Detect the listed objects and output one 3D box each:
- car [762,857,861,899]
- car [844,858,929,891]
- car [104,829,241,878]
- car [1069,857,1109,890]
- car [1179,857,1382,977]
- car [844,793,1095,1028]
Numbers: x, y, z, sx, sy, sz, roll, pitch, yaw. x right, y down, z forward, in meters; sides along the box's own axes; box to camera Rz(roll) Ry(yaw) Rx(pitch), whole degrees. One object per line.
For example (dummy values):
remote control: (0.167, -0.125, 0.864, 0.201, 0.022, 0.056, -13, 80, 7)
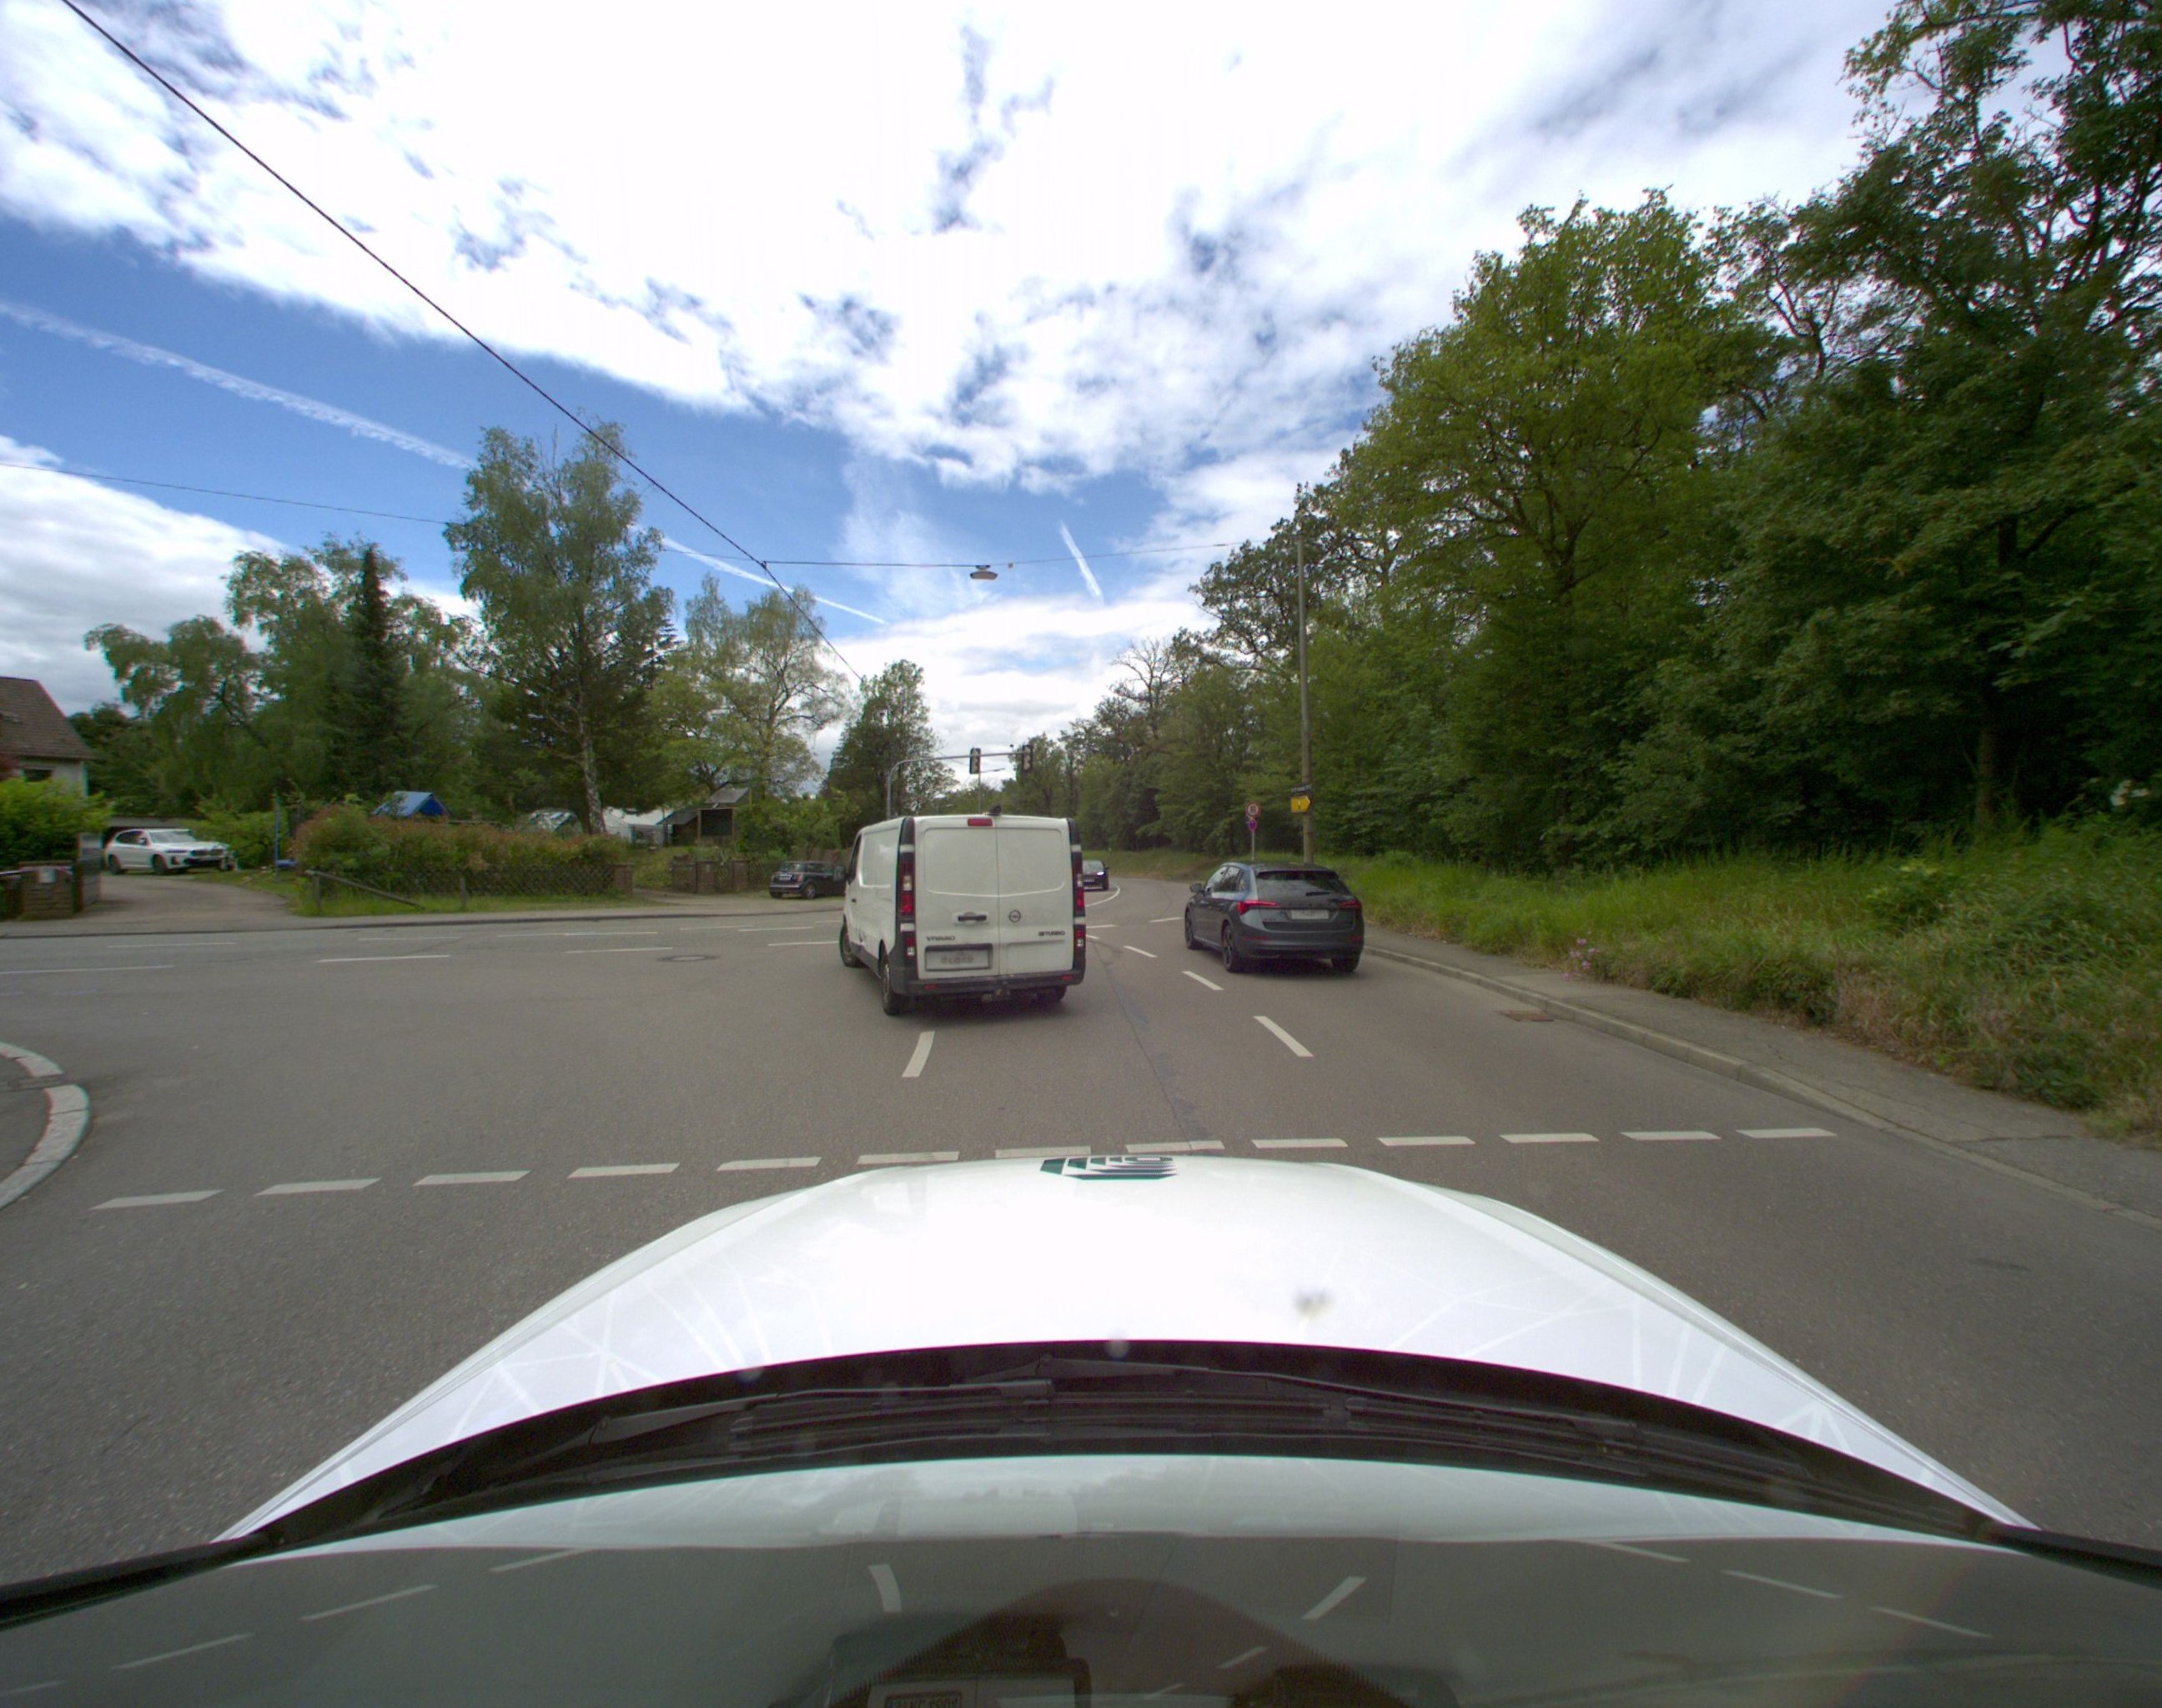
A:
car: (-10.216, 0.878, 31.092, 1.683, 1.449, 3.560, 2, 0, 20)
car: (-9.825, 1.025, 41.212, 4.093, 1.553, 1.845, 0, 0, -15)
car: (-33.258, -0.065, 29.812, 4.290, 1.657, 2.012, 1, 3, 24)
car: (0.343, 0.940, 40.856, 1.811, 1.507, 3.997, -2, 0, -2)
car: (2.692, 0.776, 11.979, 1.789, 1.450, 3.994, 0, 0, -4)
car: (-1.593, 0.491, 9.626, 1.924, 2.053, 4.581, 0, 0, -21)
